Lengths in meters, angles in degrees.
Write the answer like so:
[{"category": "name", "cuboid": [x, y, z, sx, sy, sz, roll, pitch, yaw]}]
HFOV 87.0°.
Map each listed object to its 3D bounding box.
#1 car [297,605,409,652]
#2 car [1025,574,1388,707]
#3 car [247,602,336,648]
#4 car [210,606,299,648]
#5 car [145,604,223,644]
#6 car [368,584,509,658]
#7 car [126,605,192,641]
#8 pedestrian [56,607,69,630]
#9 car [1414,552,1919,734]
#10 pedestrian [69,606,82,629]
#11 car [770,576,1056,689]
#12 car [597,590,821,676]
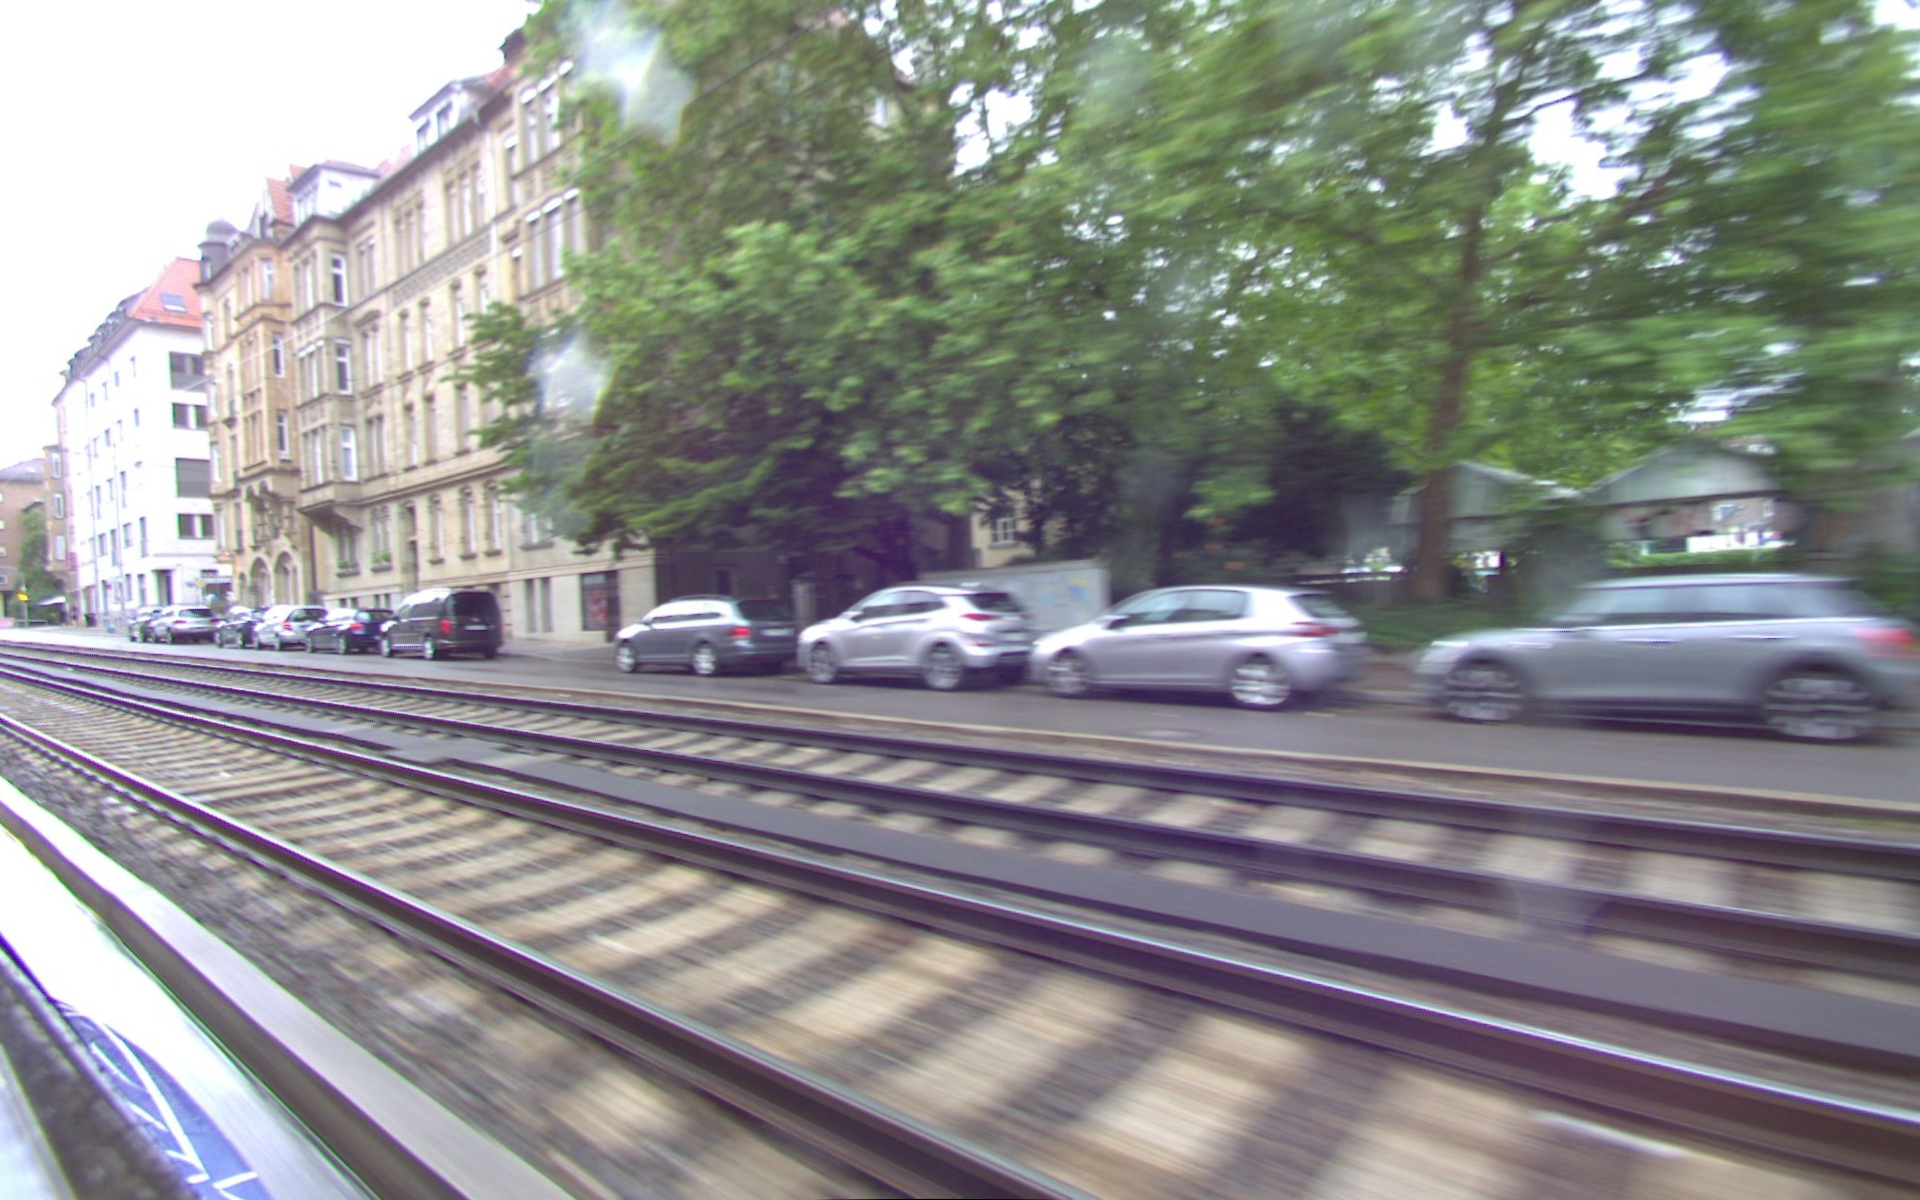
[{"category": "car", "cuboid": [-19.258, 0.879, 32.034, 4.266, 1.409, 1.745, -1, -1, 40]}, {"category": "car", "cuboid": [2.997, 0.472, 12.816, 4.150, 1.424, 1.736, -1, -2, 40]}, {"category": "car", "cuboid": [-23.646, 0.871, 35.730, 3.853, 1.535, 1.677, -1, -1, 41]}, {"category": "car", "cuboid": [-27.331, 1.014, 39.175, 4.166, 1.519, 1.851, -1, 0, 41]}, {"category": "car", "cuboid": [-35.168, 1.070, 45.830, 4.311, 1.665, 1.840, -1, 0, 40]}, {"category": "car", "cuboid": [-14.337, 0.576, 27.706, 4.815, 1.861, 1.782, -1, -1, 41]}, {"category": "car", "cuboid": [-38.701, 1.086, 48.840, 4.429, 1.614, 1.838, -1, -1, 43]}, {"category": "pedestrian", "cuboid": [-69.203, 1.443, 78.053, 0.746, 1.731, 0.595, -1, 3, 43]}, {"category": "car", "cuboid": [6.641, 0.367, 9.658, 3.949, 1.424, 1.524, -1, -2, 40]}, {"category": "pedestrian", "cuboid": [-68.627, 1.388, 78.538, 0.658, 1.731, 0.595, -1, 3, 43]}, {"category": "car", "cuboid": [-0.850, 0.488, 15.952, 4.539, 1.548, 1.736, -1, -2, 40]}, {"category": "car", "cuboid": [-4.913, 0.608, 19.492, 4.545, 1.475, 1.831, -1, -2, 39]}]
